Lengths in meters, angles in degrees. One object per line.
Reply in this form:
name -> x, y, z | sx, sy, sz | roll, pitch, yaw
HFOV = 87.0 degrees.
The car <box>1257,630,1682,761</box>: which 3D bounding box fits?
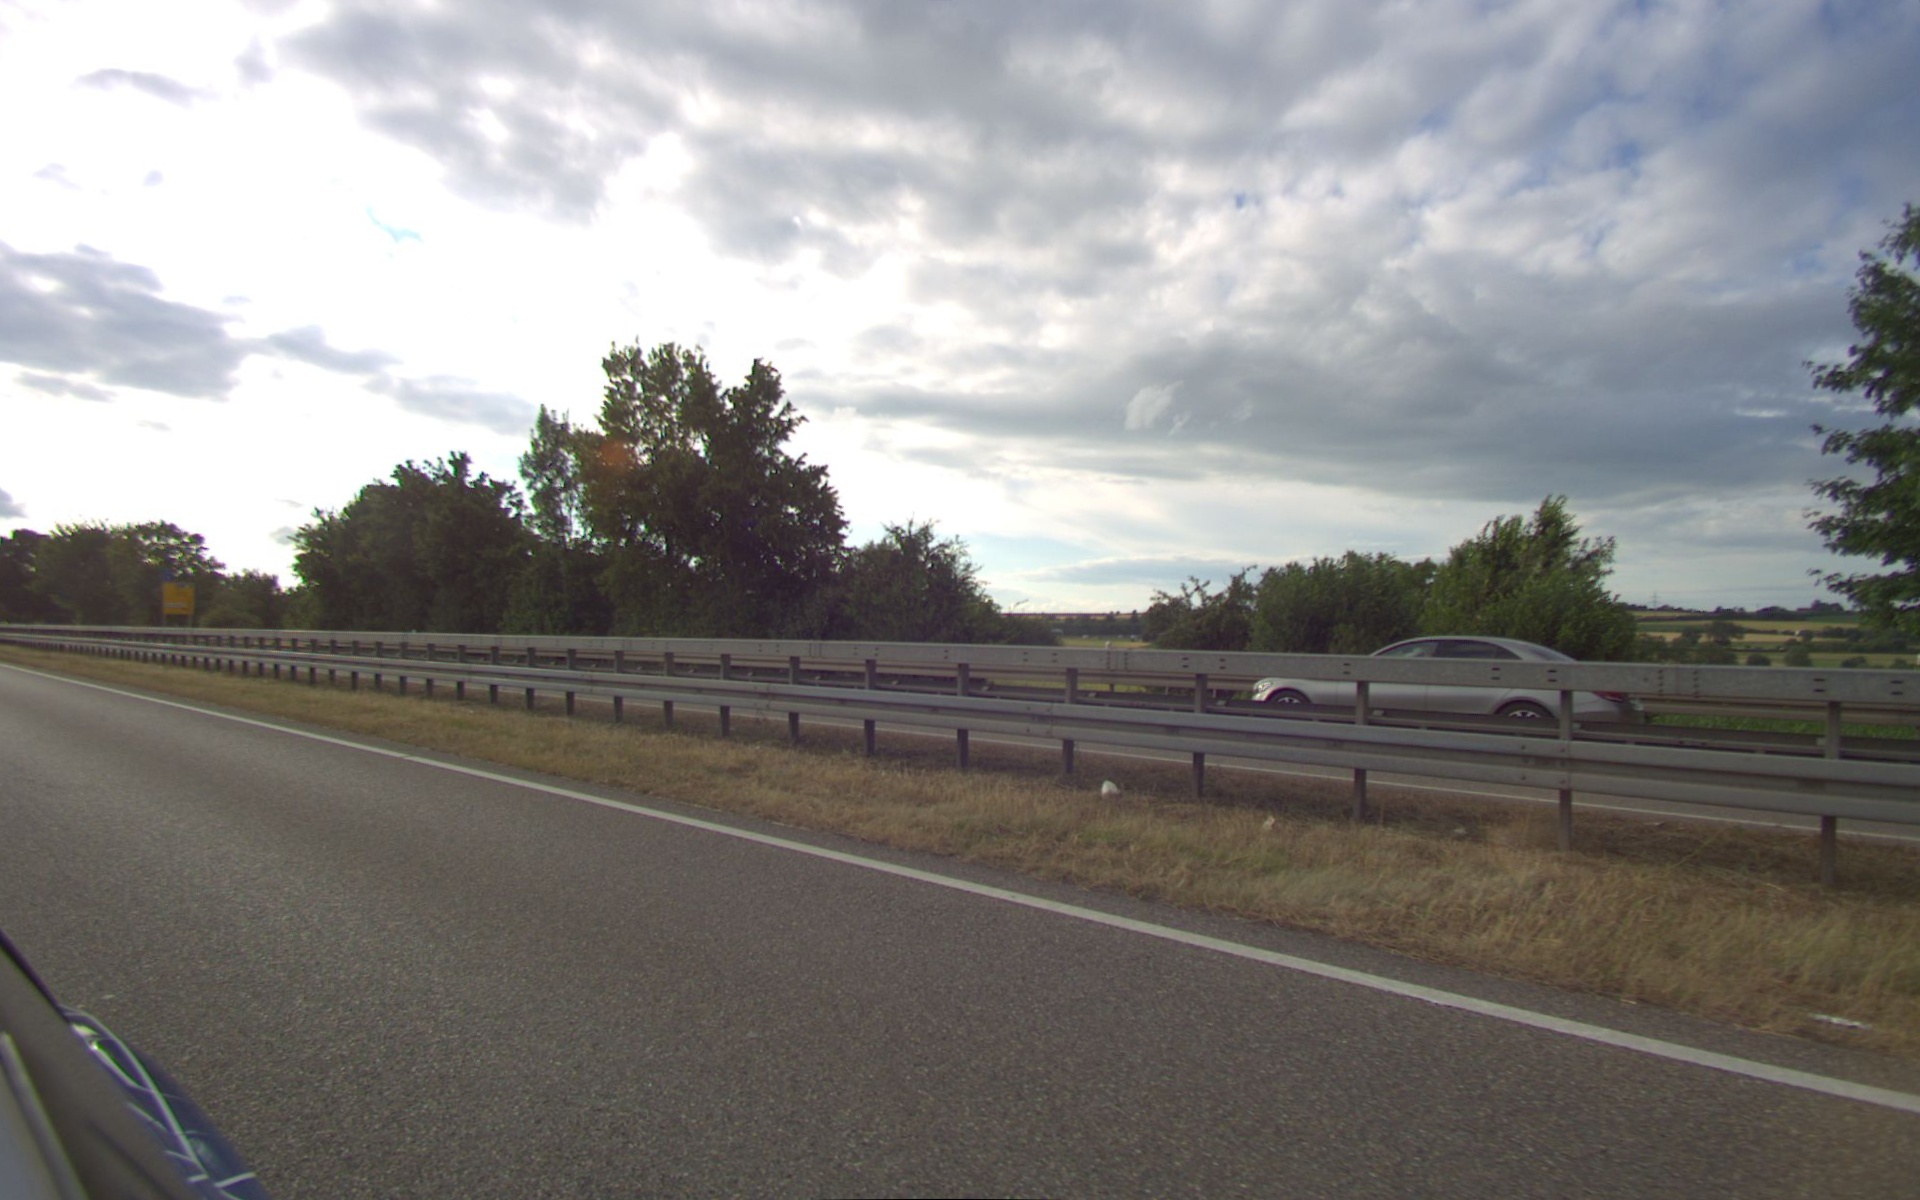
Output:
car -> 6.327, 1.081, 12.935 | 4.574, 1.362, 1.762 | -1, -2, 41
